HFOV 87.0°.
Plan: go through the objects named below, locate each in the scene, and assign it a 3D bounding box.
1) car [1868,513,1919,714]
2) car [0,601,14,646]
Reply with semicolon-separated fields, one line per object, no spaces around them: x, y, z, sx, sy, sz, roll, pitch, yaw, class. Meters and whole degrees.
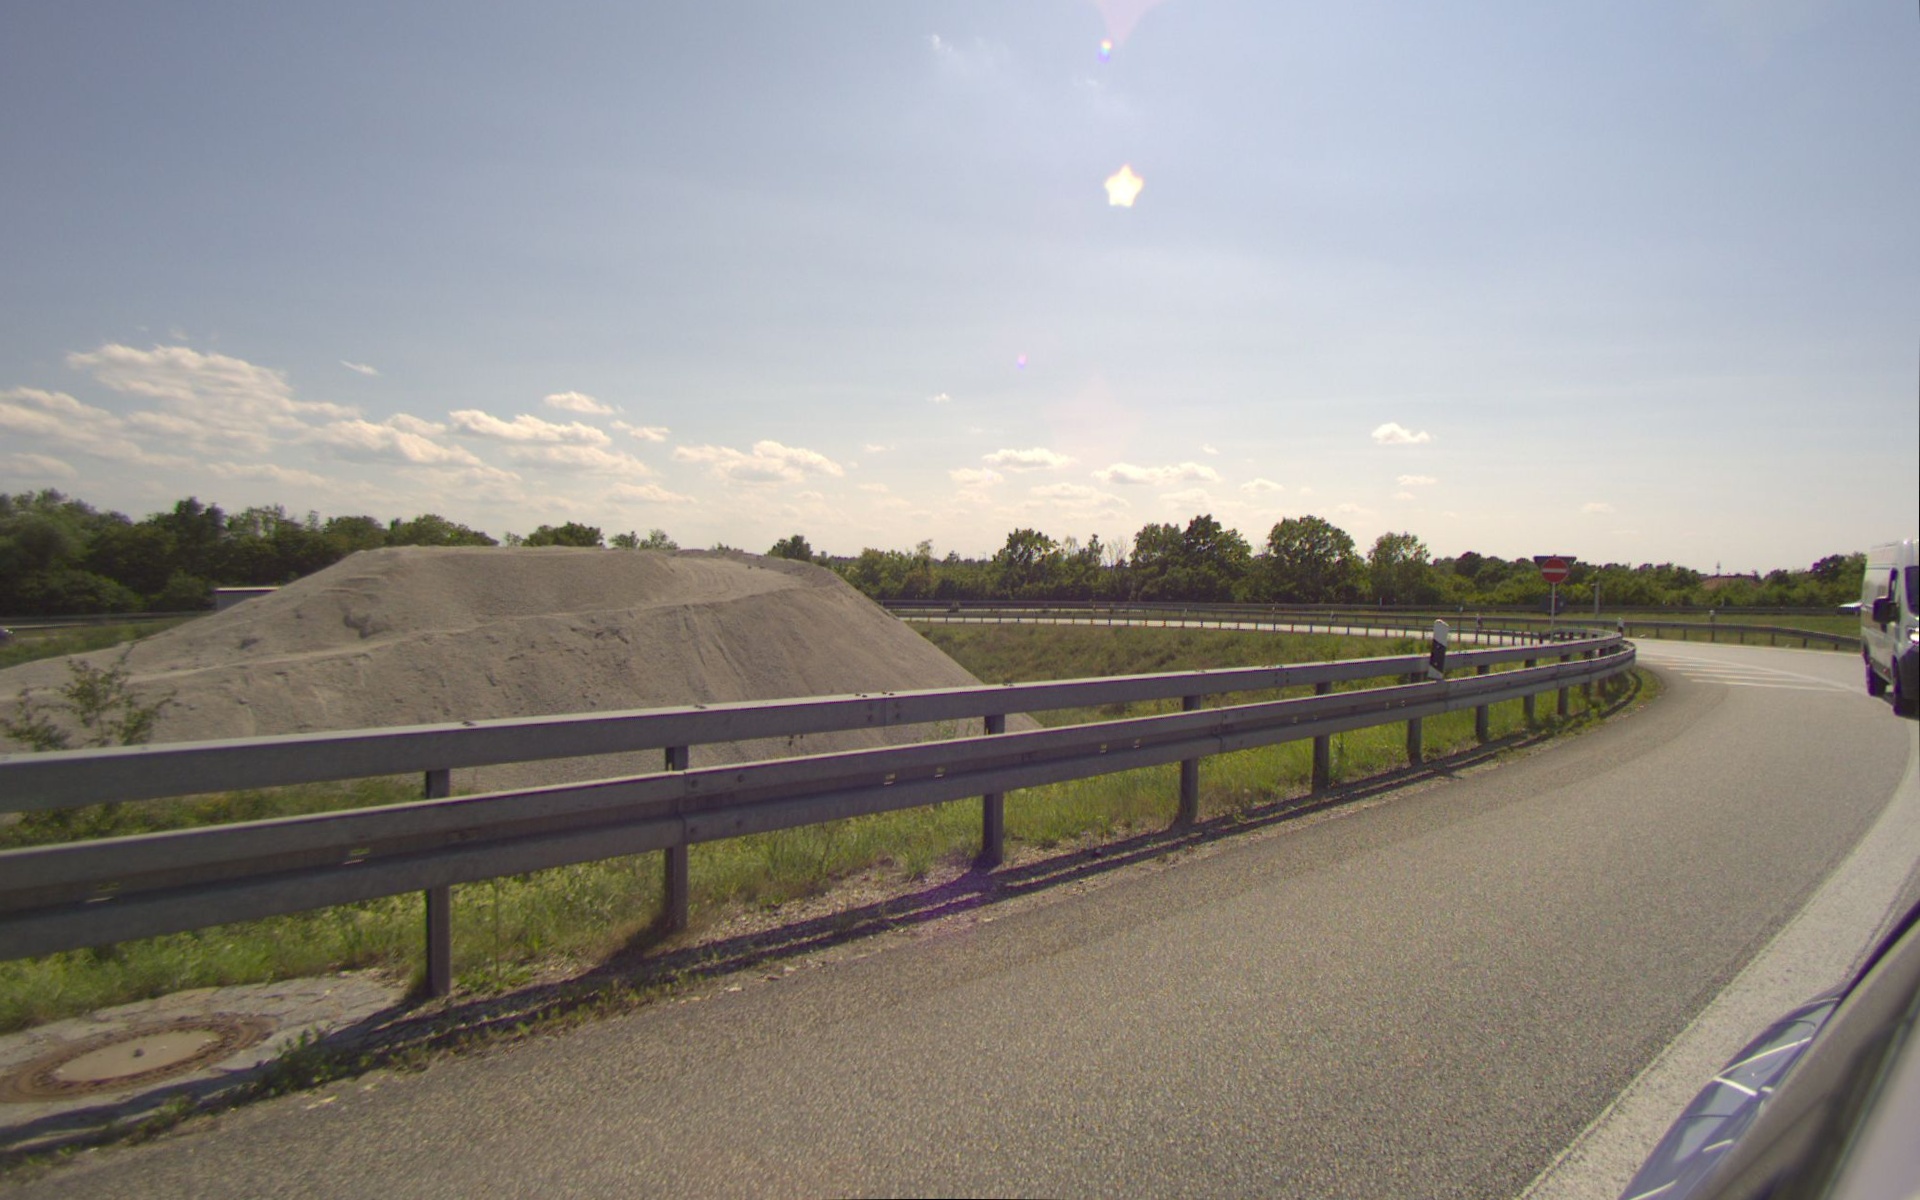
14.844;0.171;14.678;2.078;2.556;6.148;-2;-2;39;car
-80.194;1.982;80.504;1.986;3.676;6.993;-3;-1;34;car
